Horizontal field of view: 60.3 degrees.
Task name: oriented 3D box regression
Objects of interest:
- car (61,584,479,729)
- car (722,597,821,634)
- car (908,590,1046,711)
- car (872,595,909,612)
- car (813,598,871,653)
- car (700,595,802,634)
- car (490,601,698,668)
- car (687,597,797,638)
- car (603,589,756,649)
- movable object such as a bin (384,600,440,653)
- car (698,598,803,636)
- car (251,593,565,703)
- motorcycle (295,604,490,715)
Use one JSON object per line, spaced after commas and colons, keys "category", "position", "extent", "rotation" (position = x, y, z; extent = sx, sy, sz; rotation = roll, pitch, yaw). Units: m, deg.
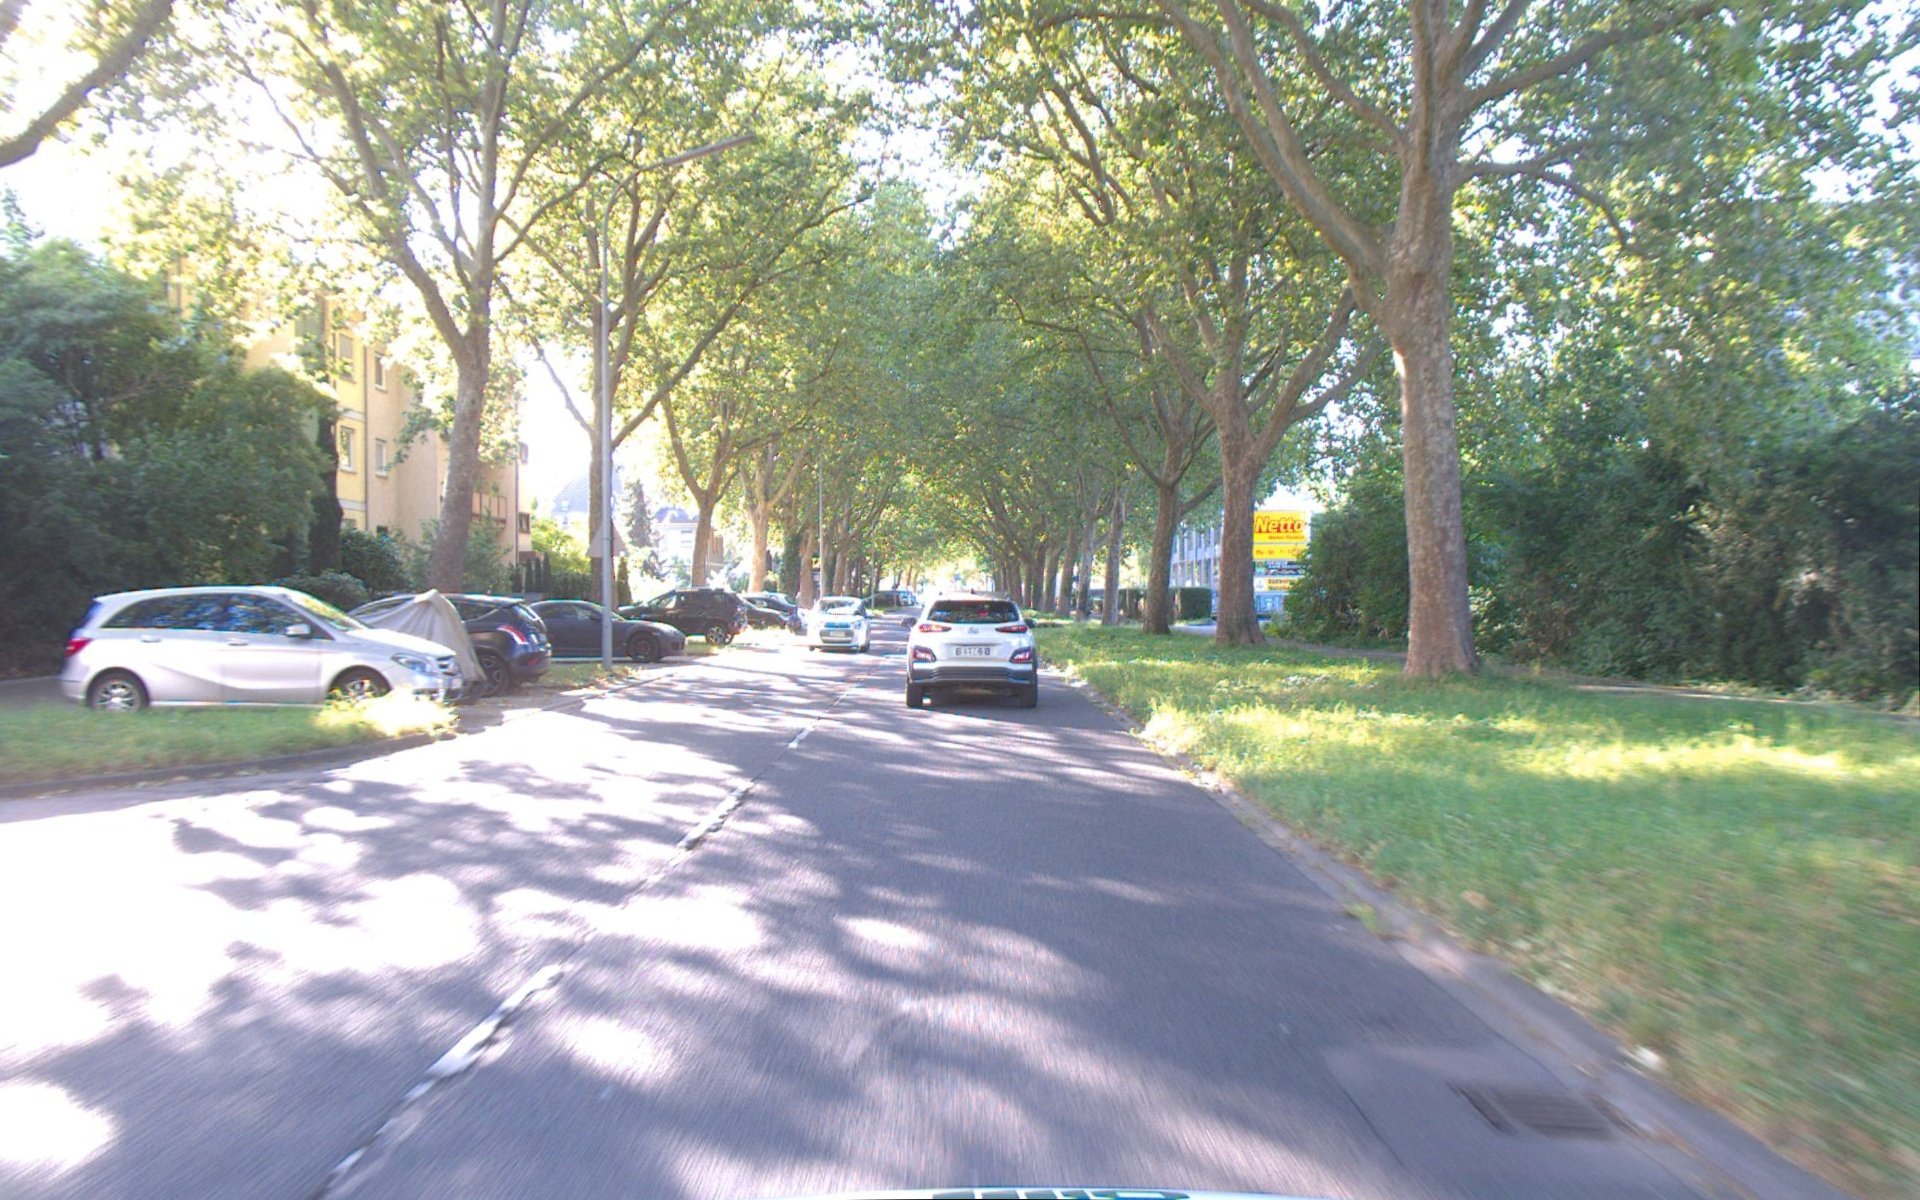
{"category": "car", "position": [-7.973, 0.638, 19.472], "extent": [4.101, 1.612, 1.998], "rotation": [0, 0, -5]}
{"category": "car", "position": [-7.904, 0.638, 69.559], "extent": [3.904, 1.496, 1.809], "rotation": [0, 0, 1]}
{"category": "car", "position": [0.207, 0.678, 23.700], "extent": [1.798, 1.583, 3.999], "rotation": [0, 0, -1]}
{"category": "car", "position": [-7.436, 0.372, 176.198], "extent": [3.909, 1.803, 1.998], "rotation": [1, -1, -5]}
{"category": "car", "position": [-3.247, 0.680, 45.821], "extent": [1.504, 1.484, 3.183], "rotation": [0, 0, -3]}
{"category": "car", "position": [-8.425, 0.570, 66.915], "extent": [3.906, 1.546, 1.809], "rotation": [0, 0, -2]}
{"category": "car", "position": [-7.949, 0.740, 36.190], "extent": [4.155, 1.376, 1.740], "rotation": [-1, 0, -2]}
{"category": "car", "position": [-8.088, 0.653, 61.660], "extent": [3.906, 1.496, 1.780], "rotation": [0, 0, -2]}
{"category": "car", "position": [-8.154, 0.543, 48.307], "extent": [4.157, 1.709, 1.670], "rotation": [0, 0, -1]}
{"category": "movable object such as a bin", "position": [-14.565, 0.713, 43.978], "extent": [1.161, 1.374, 0.954], "rotation": [-1, -1, 0]}
{"category": "car", "position": [-8.064, 0.638, 63.943], "extent": [3.909, 1.449, 1.807], "rotation": [0, 0, -5]}
{"category": "car", "position": [-8.083, 0.684, 24.521], "extent": [4.078, 1.532, 1.800], "rotation": [0, 0, -4]}
{"category": "motorcycle", "position": [-7.489, 0.769, 21.902], "extent": [2.339, 1.412, 0.647], "rotation": [-1, 0, -6]}
